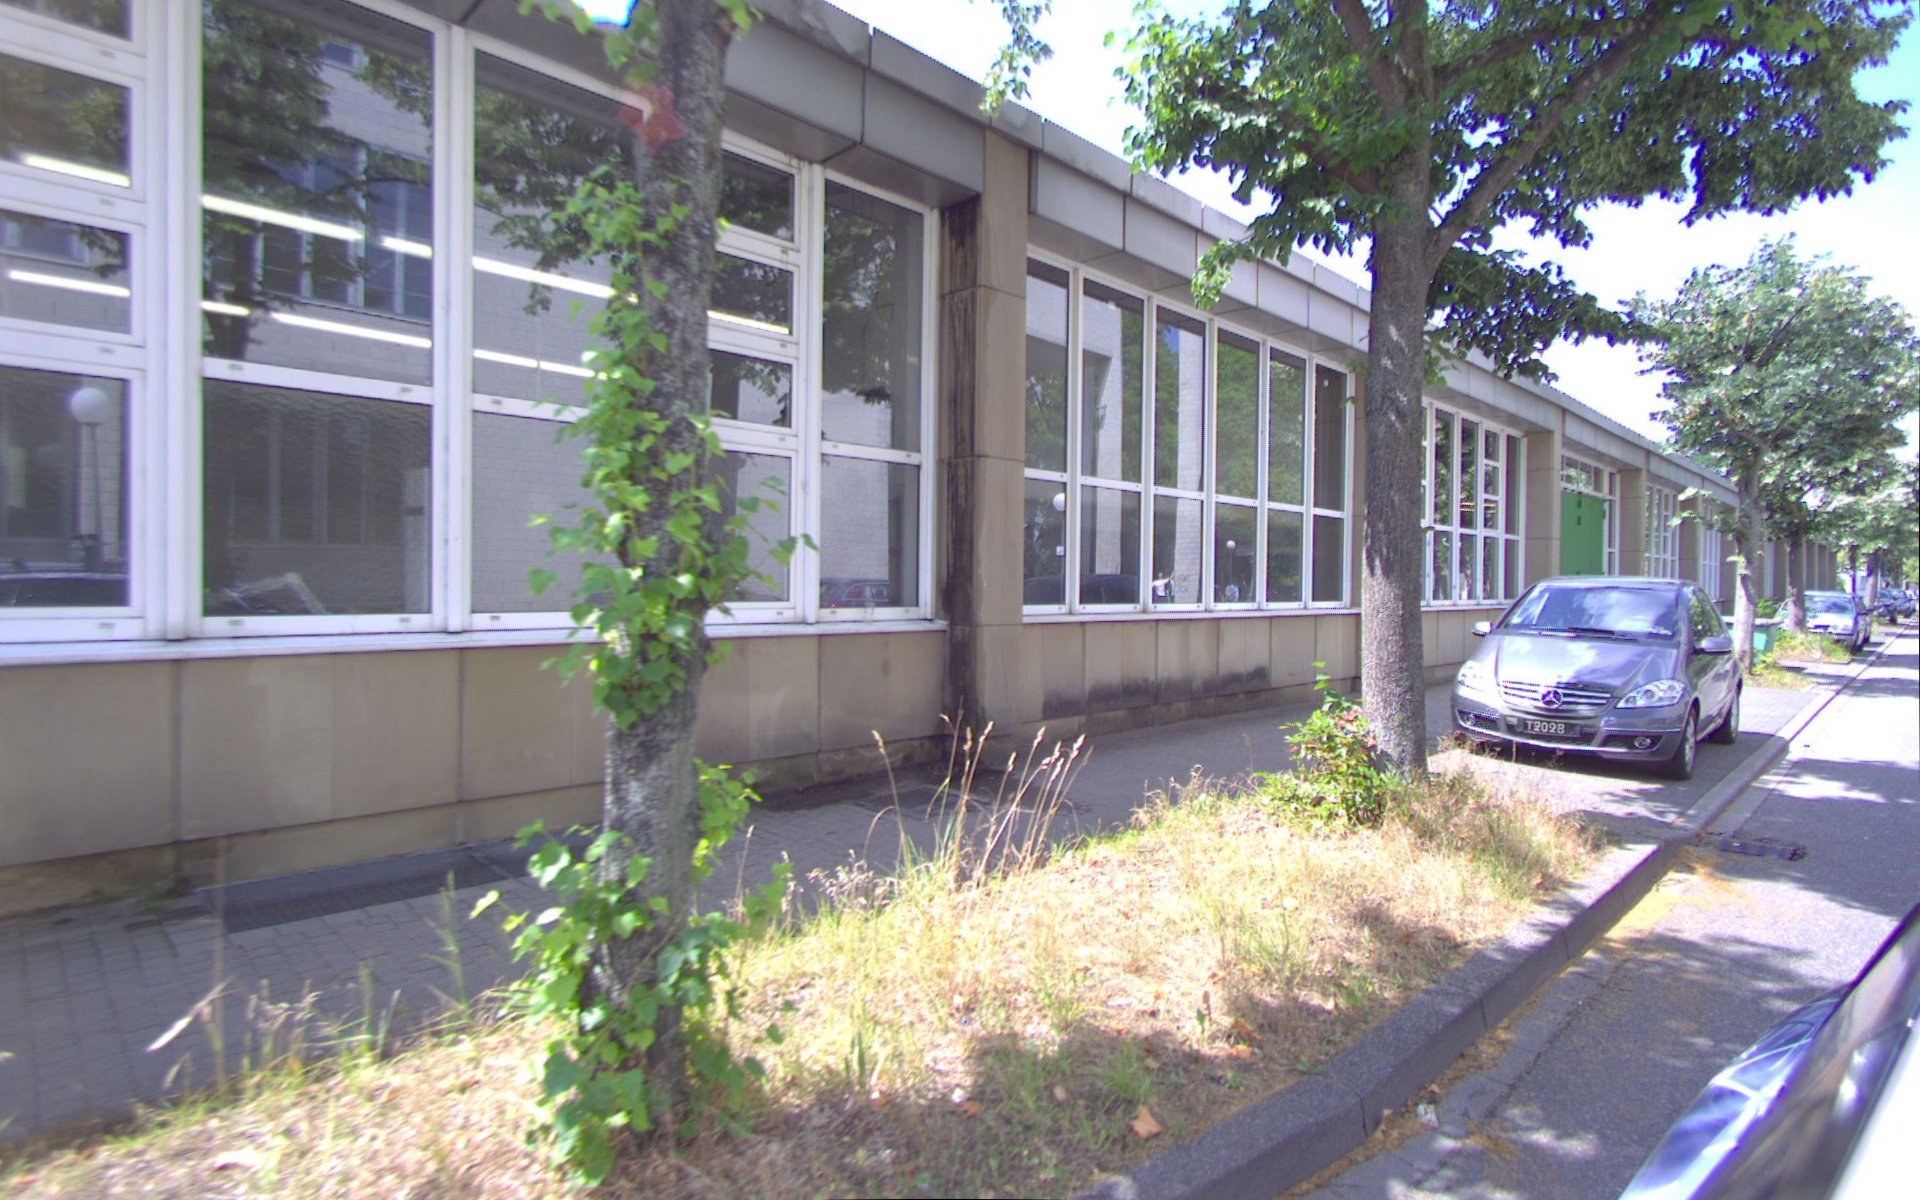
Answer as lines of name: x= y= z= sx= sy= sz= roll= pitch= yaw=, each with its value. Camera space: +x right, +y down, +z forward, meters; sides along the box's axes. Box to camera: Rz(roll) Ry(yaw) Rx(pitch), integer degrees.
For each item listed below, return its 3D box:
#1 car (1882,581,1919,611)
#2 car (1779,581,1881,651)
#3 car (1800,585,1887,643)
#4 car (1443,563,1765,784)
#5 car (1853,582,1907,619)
car: x=52.320 y=-0.248 z=56.084 sx=1.645 sy=1.511 sz=3.756 roll=3 pitch=3 yaw=44
car: x=21.463 y=0.342 z=24.918 sx=1.619 sy=1.530 sz=3.757 roll=4 pitch=3 yaw=44
car: x=25.149 y=0.348 z=28.766 sx=1.619 sy=1.481 sz=3.757 roll=4 pitch=3 yaw=44
car: x=6.045 y=0.496 z=9.319 sx=1.757 sy=1.588 sz=3.757 roll=3 pitch=2 yaw=44
car: x=40.975 y=-0.006 z=45.057 sx=1.645 sy=1.511 sz=3.756 roll=3 pitch=3 yaw=44
